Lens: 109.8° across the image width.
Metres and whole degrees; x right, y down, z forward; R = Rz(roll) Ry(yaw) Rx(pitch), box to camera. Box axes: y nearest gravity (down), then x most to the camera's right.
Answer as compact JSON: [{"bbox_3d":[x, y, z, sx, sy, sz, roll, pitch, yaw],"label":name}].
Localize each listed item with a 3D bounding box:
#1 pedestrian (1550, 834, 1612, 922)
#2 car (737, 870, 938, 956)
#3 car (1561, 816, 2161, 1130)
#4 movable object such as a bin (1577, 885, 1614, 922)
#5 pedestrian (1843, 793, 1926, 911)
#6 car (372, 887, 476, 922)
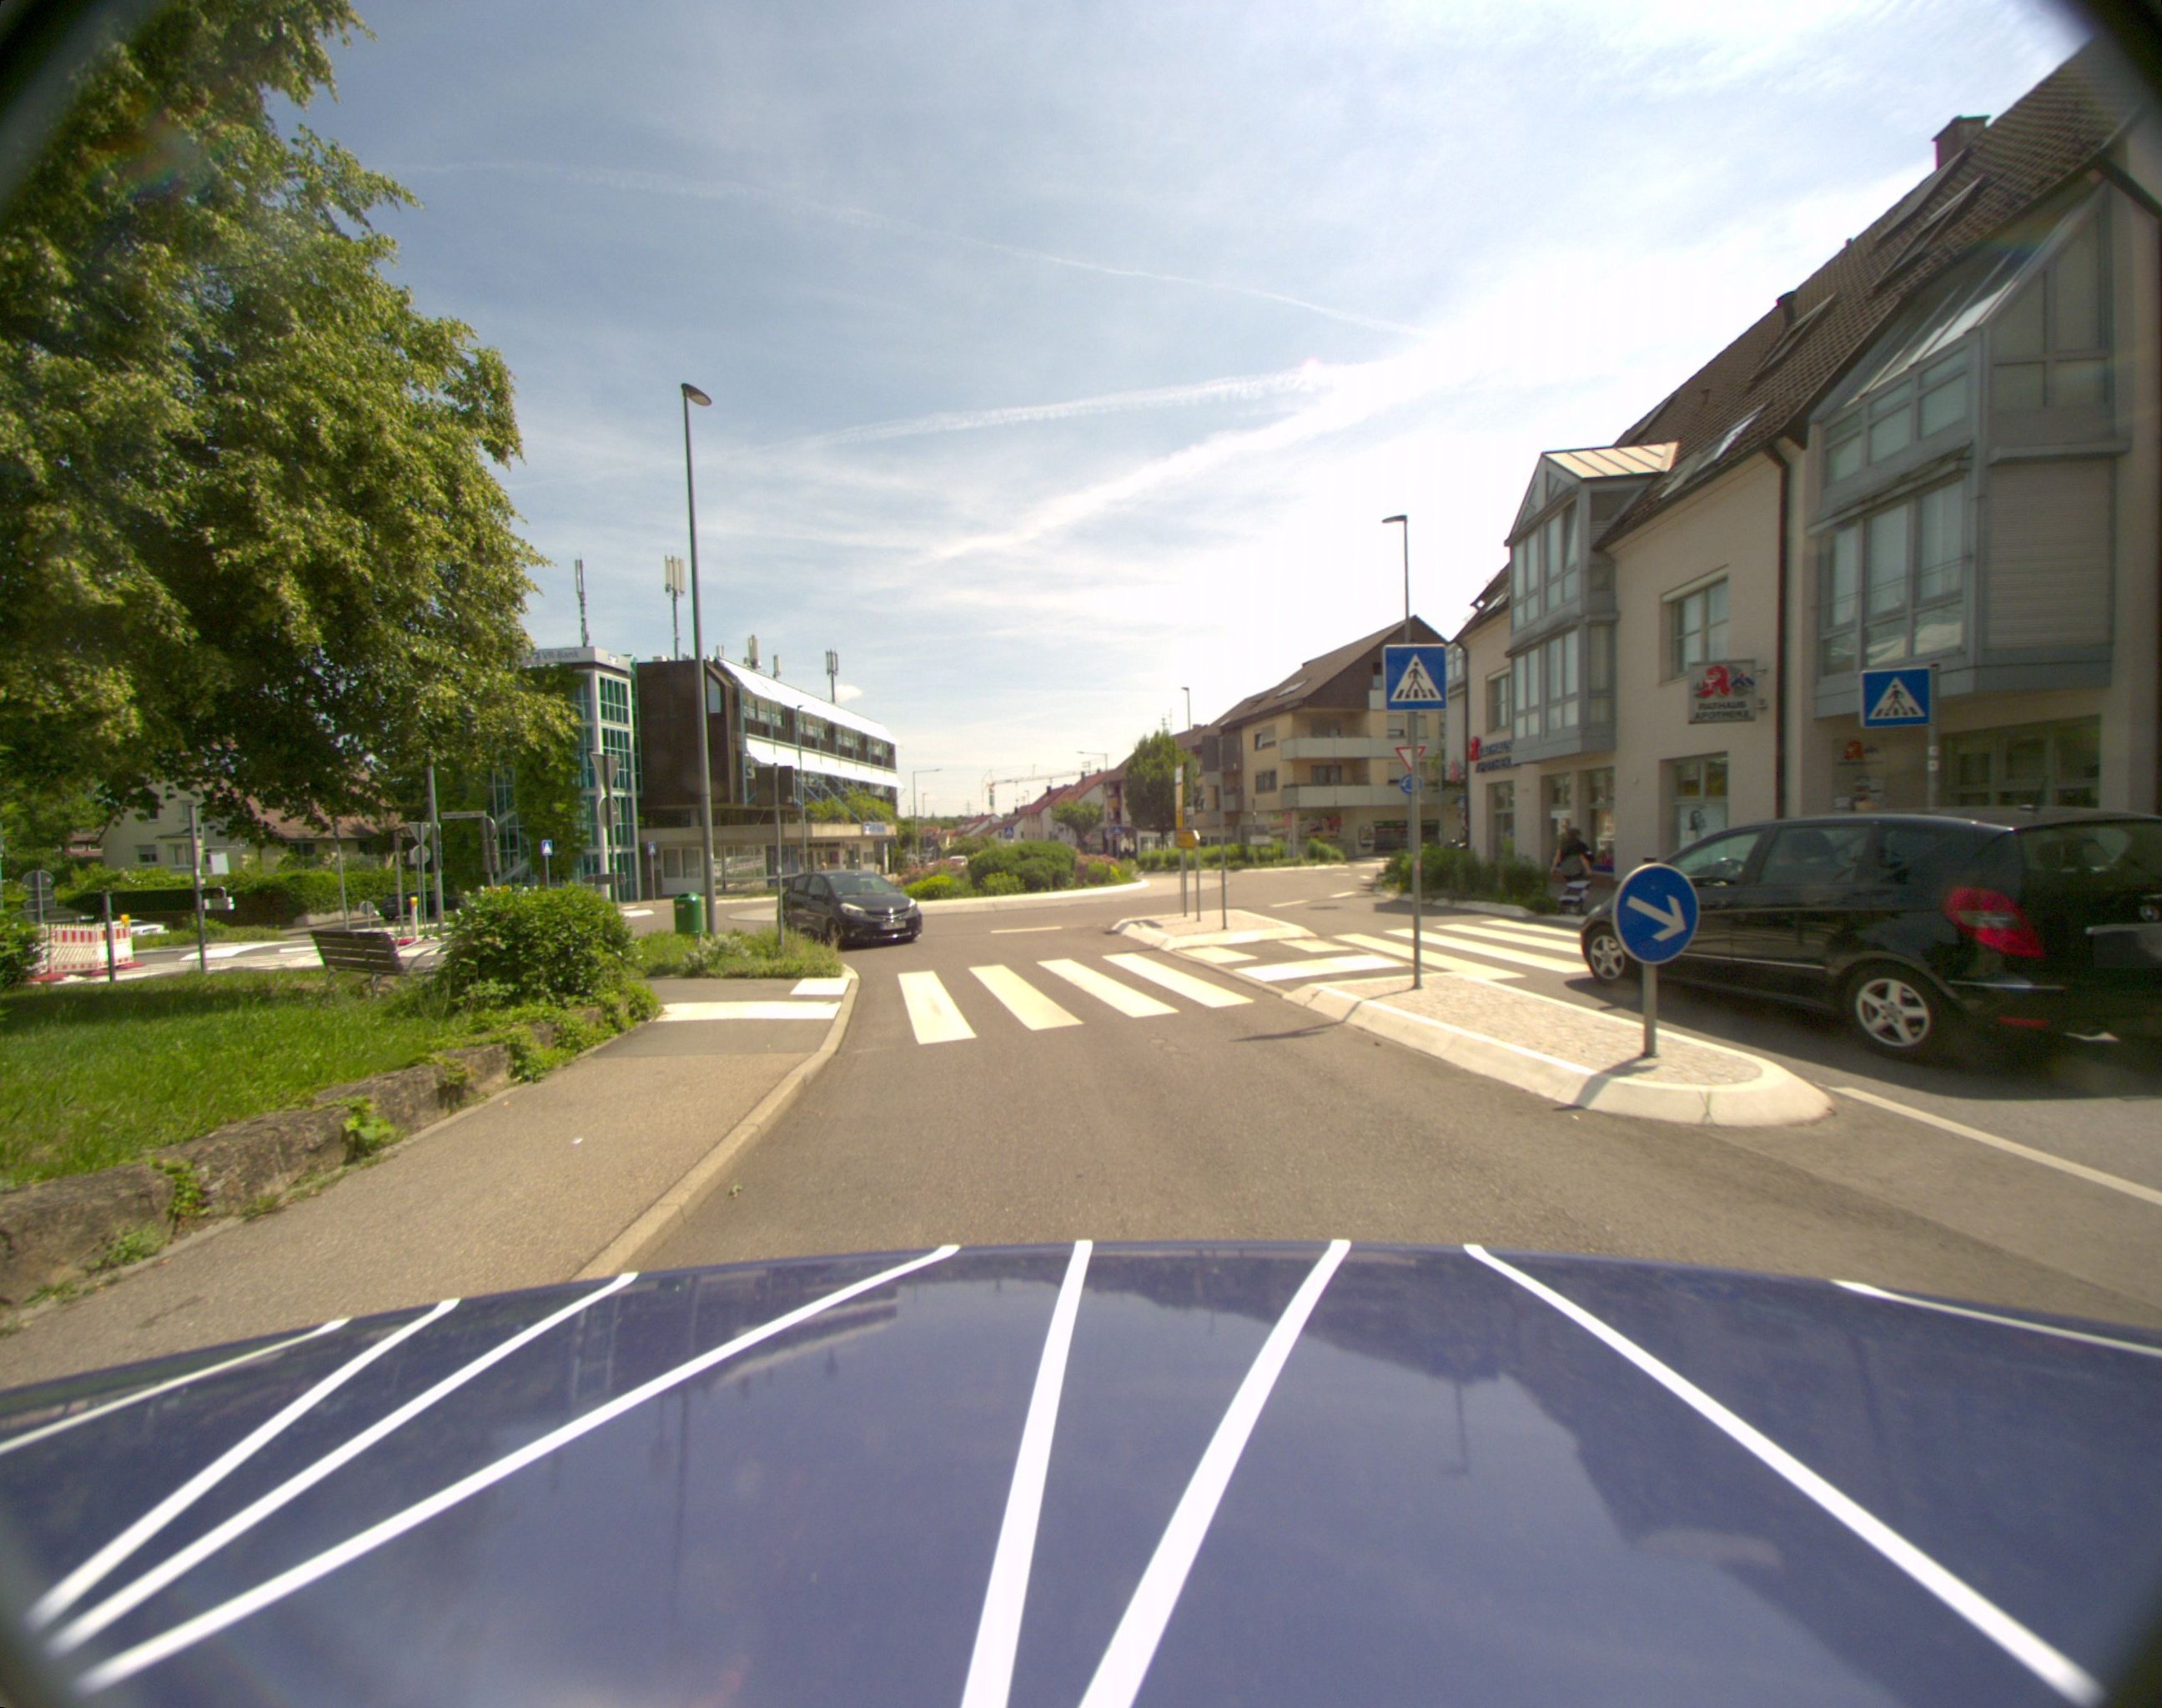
[{"bbox_3d":[8.743,0.402,13.332,0.800,1.469,0.959,-2,1,29],"label":"pedestrian"},{"bbox_3d":[-5.072,1.148,15.546,4.418,1.448,1.730,-3,1,40],"label":"car"},{"bbox_3d":[5.811,0.580,5.870,1.756,1.575,3.945,-3,1,2],"label":"car"},{"bbox_3d":[8.683,0.834,12.839,0.458,0.578,0.469,-2,1,29],"label":"movable object such as a bin"},{"bbox_3d":[12.043,-0.031,11.407,0.576,1.699,0.580,-3,1,10],"label":"pedestrian"},{"bbox_3d":[-37.613,2.856,43.662,1.861,1.429,4.227,-3,3,8],"label":"car"}]
